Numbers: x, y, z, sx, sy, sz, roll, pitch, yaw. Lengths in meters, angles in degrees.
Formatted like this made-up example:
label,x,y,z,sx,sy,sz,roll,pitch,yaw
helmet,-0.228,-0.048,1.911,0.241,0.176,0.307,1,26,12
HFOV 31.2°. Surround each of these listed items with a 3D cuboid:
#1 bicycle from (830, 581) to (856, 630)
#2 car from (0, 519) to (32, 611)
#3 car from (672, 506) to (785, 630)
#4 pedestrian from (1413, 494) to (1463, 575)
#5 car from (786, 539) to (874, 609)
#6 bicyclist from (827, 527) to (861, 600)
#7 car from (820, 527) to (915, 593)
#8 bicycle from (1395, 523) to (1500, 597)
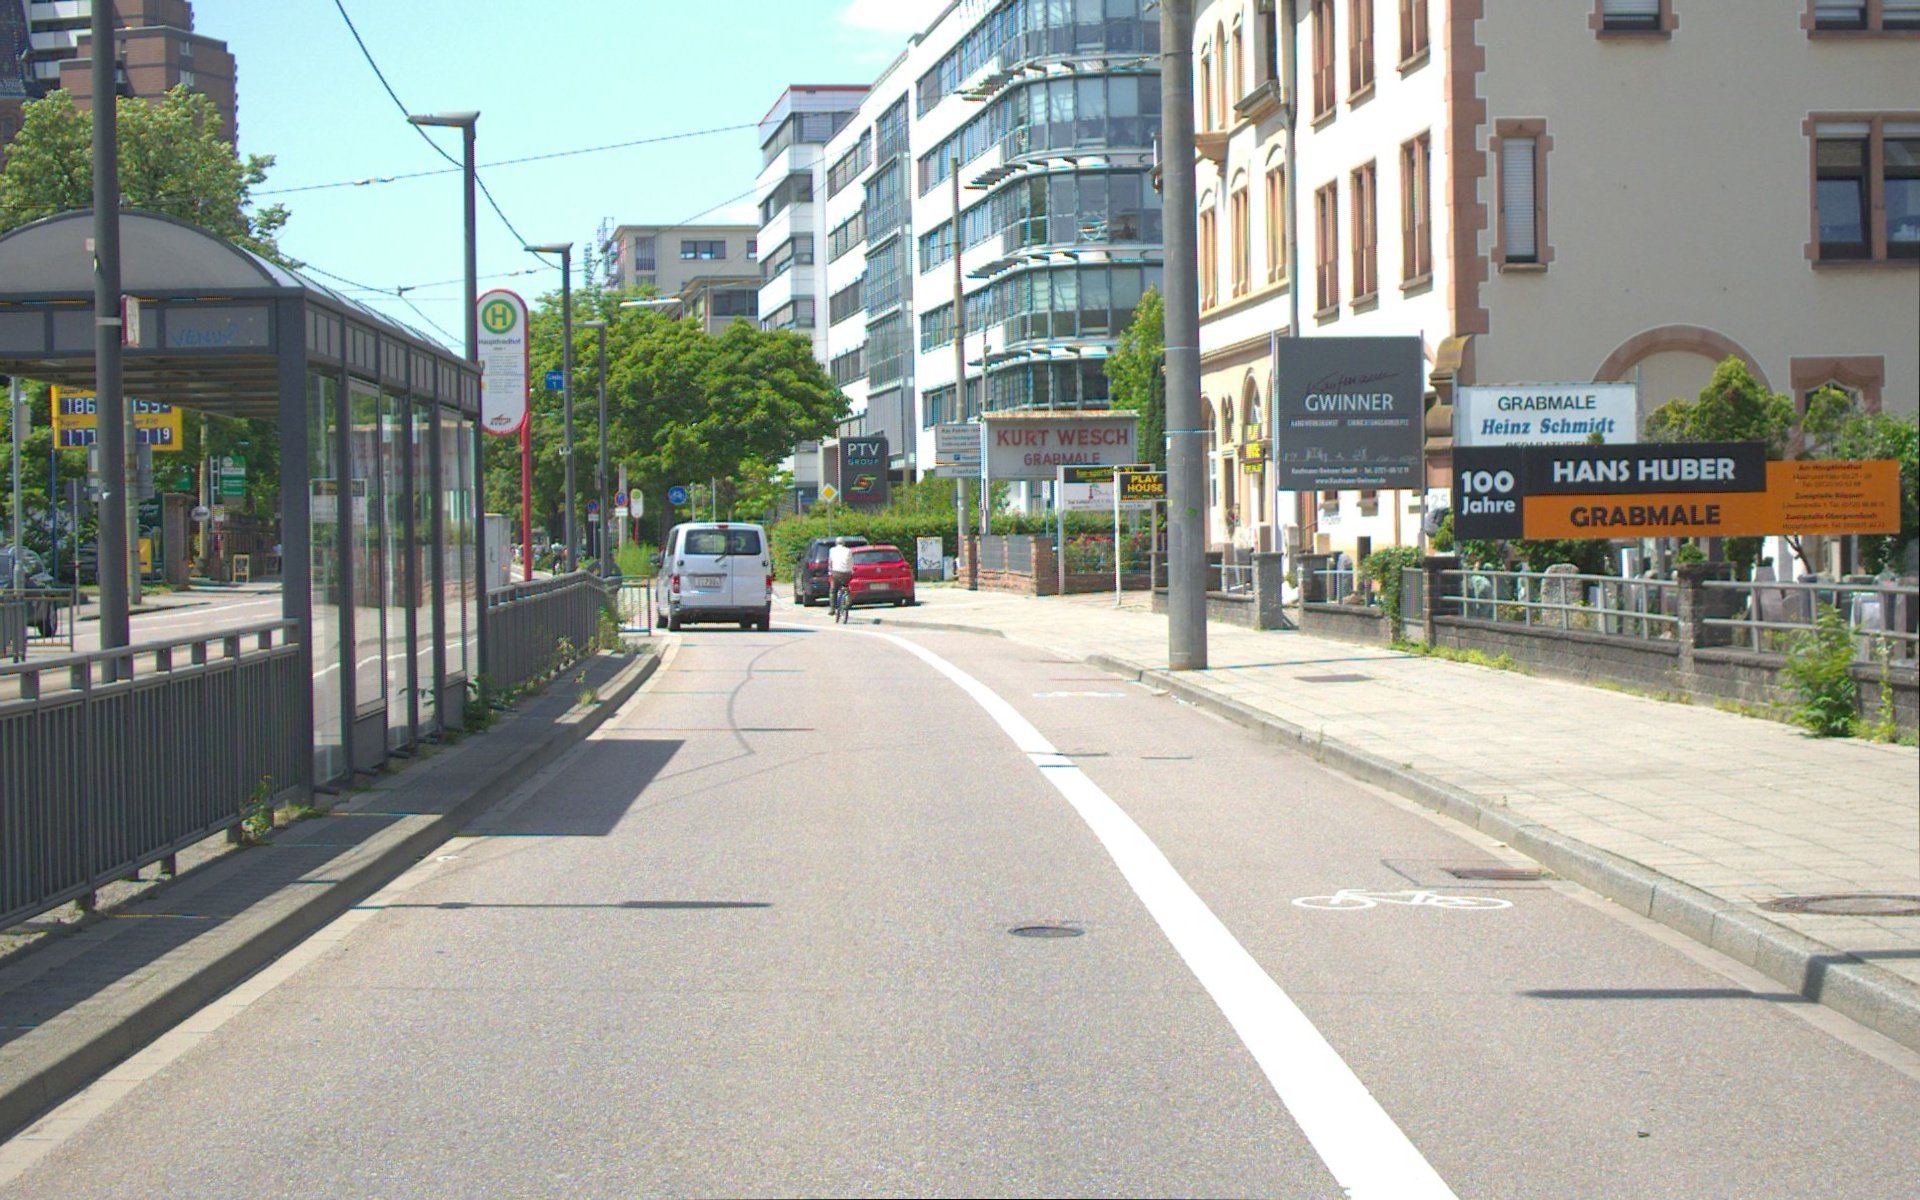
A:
label,x,y,z,sx,sy,sz,roll,pitch,yaw
bicycle,-2.235,0.101,65.626,0.465,0.884,2.048,0,1,-2
car,-17.933,-0.622,61.850,1.698,1.610,3.759,-2,1,-5
car,-4.005,-0.589,59.080,1.752,2.006,4.001,-1,2,-6
pedestrian,6.411,-0.876,46.132,0.535,1.050,0.485,-2,-1,-5
car,-3.297,-0.676,86.530,1.863,1.681,5.001,-1,1,-6
bicyclist,-2.213,-0.698,65.513,0.591,1.392,0.842,0,1,-5
car,-2.189,-0.959,80.381,1.711,1.448,4.073,-2,1,-8
bicycle,6.542,-0.531,46.134,1.313,0.937,0.357,-2,-1,-3
